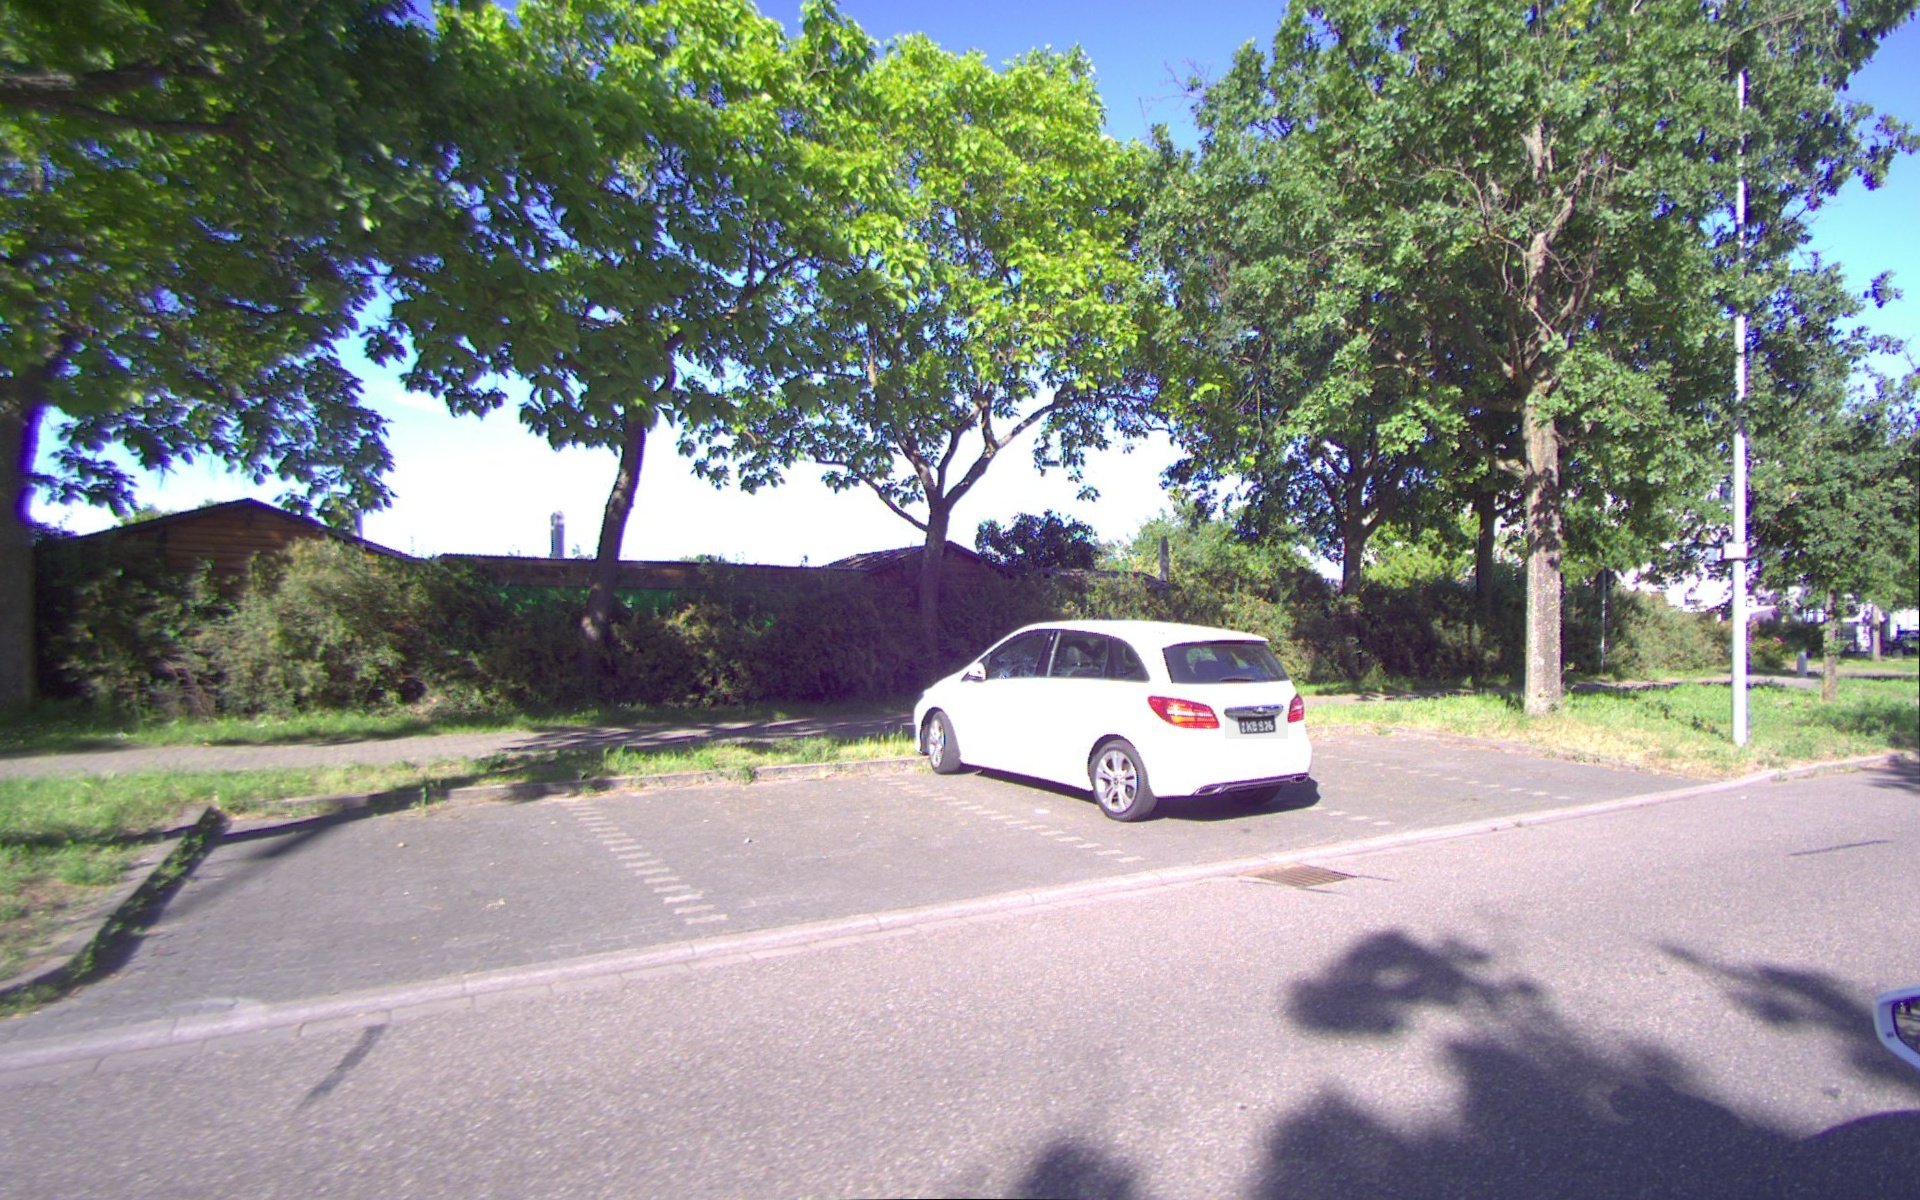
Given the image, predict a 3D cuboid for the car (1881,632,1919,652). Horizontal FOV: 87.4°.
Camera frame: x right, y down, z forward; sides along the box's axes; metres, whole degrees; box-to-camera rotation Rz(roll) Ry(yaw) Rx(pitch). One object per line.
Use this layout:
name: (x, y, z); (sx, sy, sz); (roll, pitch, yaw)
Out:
car: (68.276, 2.983, 71.257); (3.874, 1.420, 2.001); (0, -1, 16)

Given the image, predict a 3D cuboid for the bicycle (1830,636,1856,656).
bicycle: (50.088, 2.620, 56.978); (1.871, 1.102, 0.635); (1, -2, -34)

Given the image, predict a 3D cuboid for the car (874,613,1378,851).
car: (1.245, 0.954, 9.519); (2.169, 1.579, 4.598); (1, 0, -34)

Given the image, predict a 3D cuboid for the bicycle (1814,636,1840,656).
bicycle: (48.762, 2.592, 56.476); (1.871, 1.102, 0.635); (1, -2, -34)

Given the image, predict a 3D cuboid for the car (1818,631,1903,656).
car: (60.149, 2.889, 67.169); (3.927, 1.531, 1.798); (-1, 0, 29)

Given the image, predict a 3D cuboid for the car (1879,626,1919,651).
car: (78.600, 3.138, 82.080); (4.761, 2.040, 2.001); (0, -1, 16)
